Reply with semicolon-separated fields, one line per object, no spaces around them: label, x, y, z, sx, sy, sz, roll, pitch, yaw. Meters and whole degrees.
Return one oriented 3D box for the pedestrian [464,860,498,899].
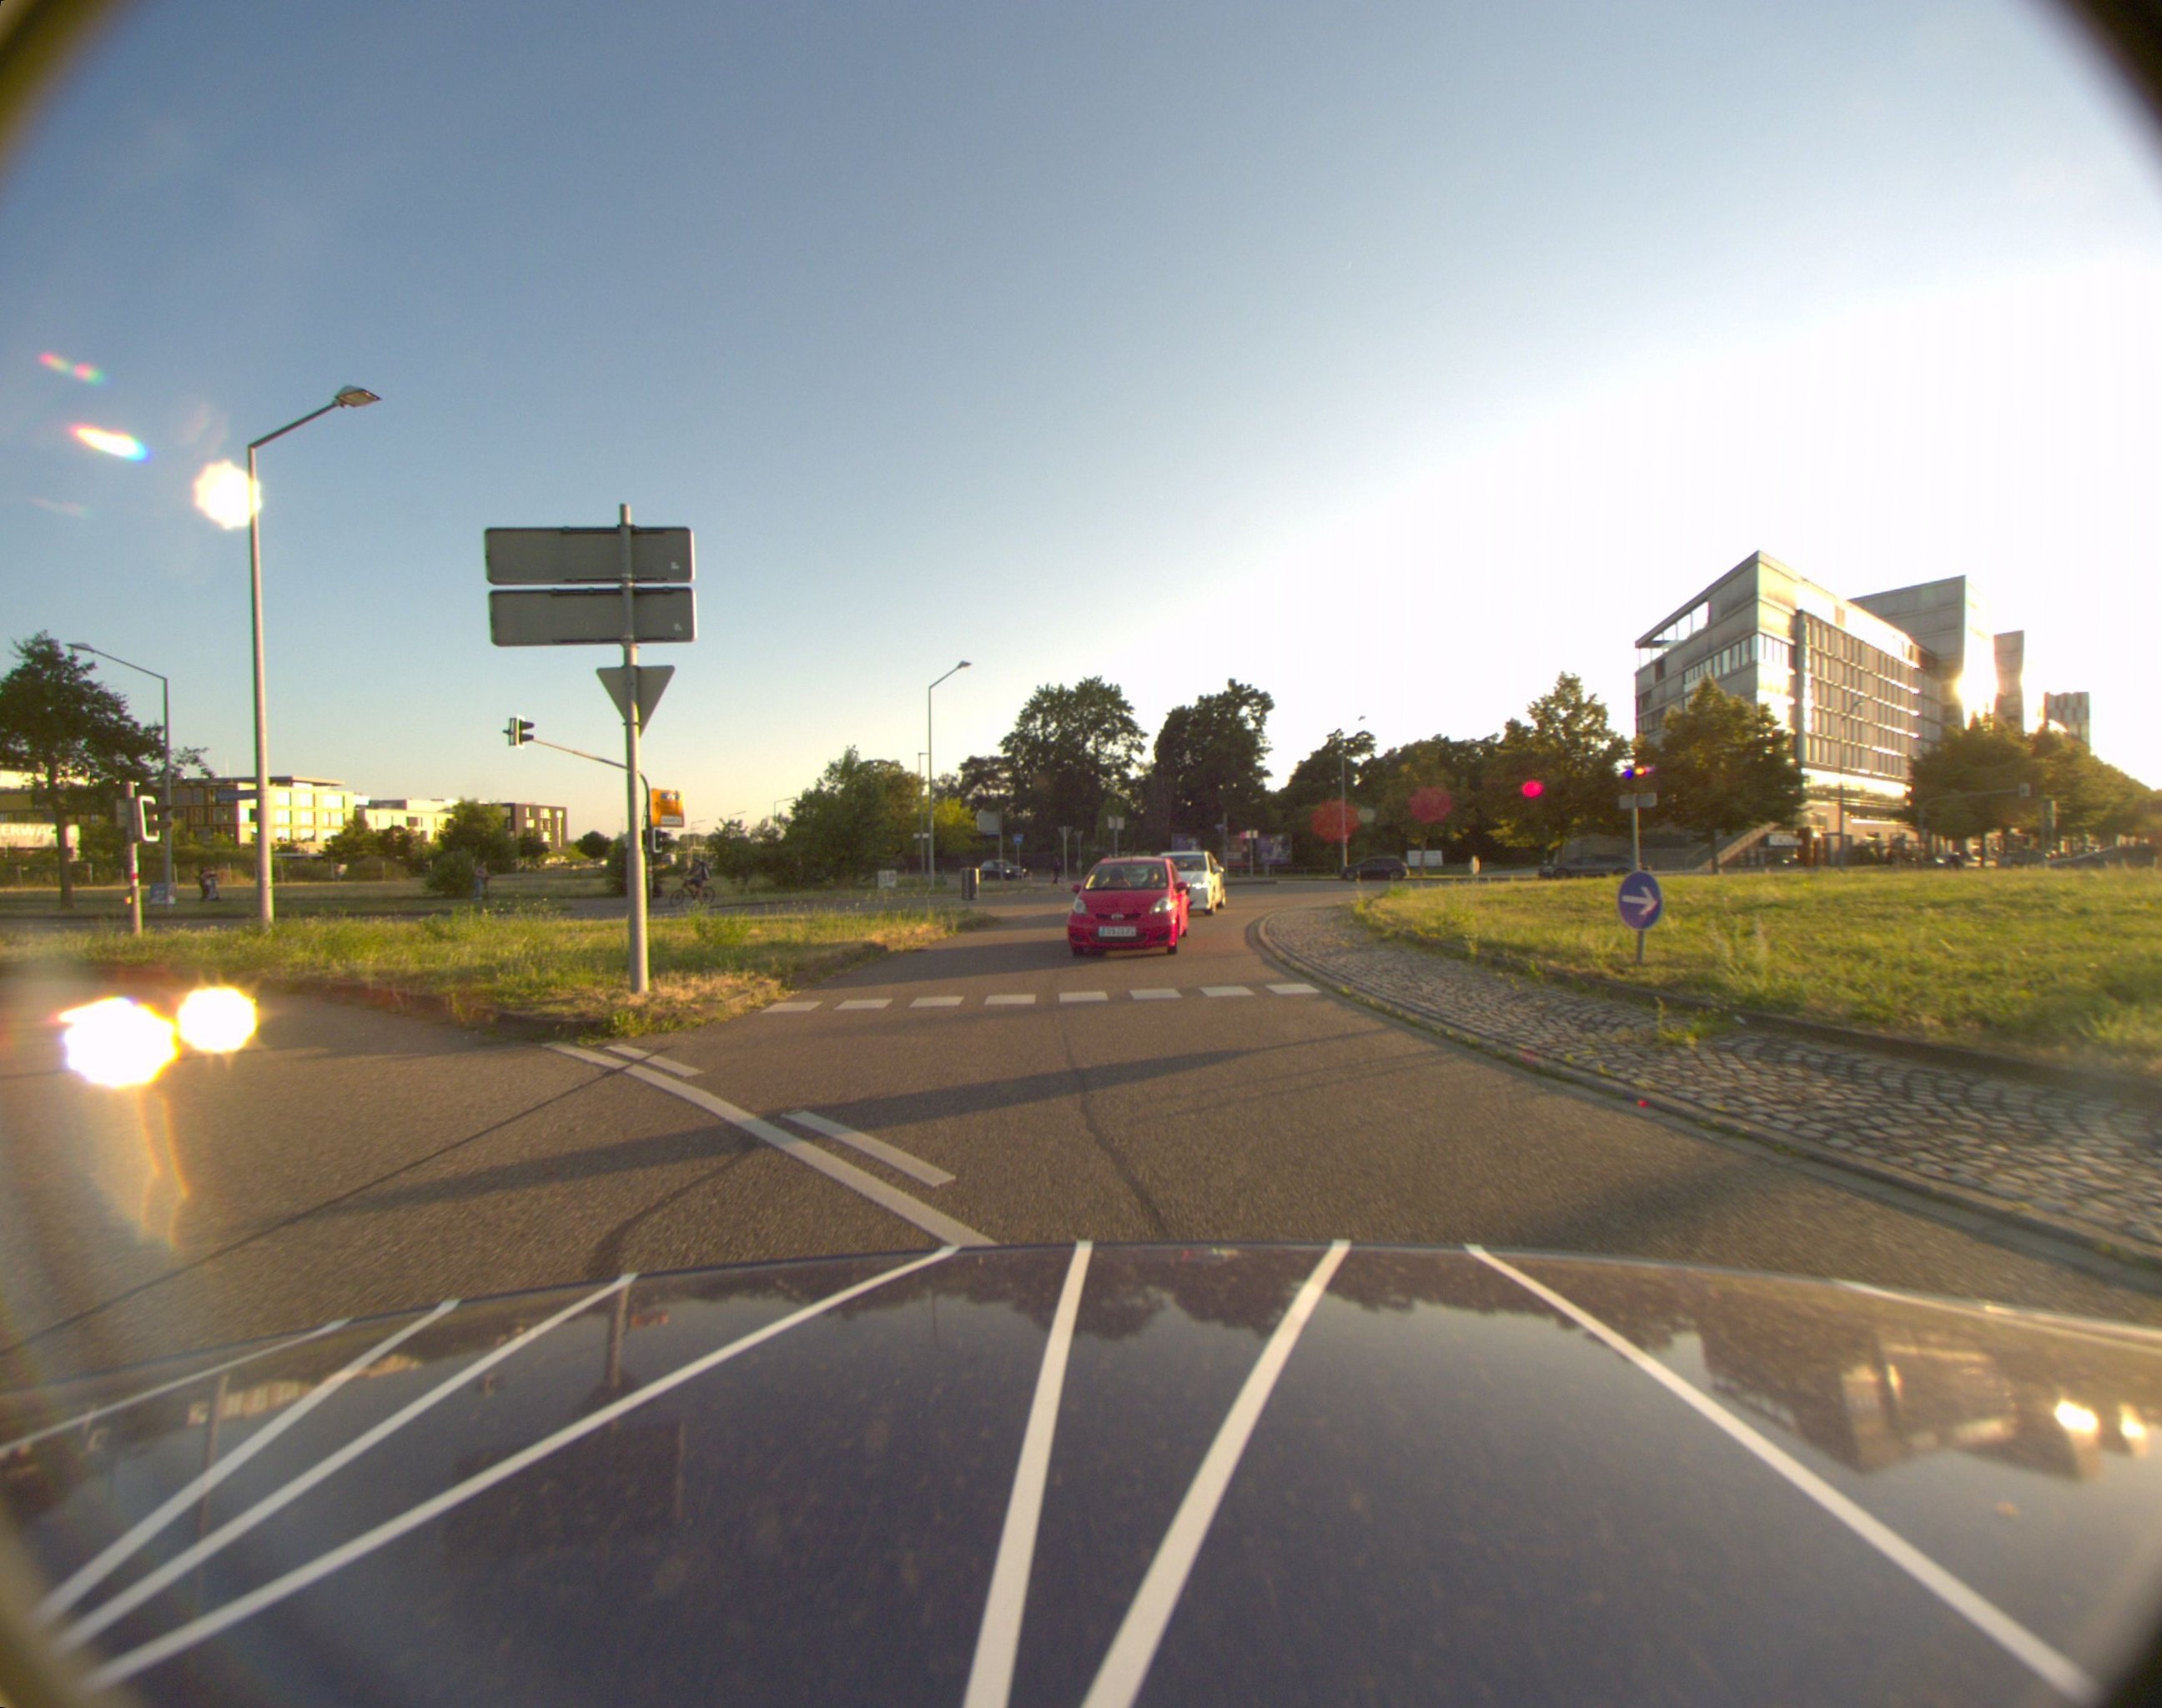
pedestrian;-26.495;1.106;33.550;0.889;1.691;0.721;-1;1;10

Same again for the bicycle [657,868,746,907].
bicycle;-15.244;1.315;30.722;1.121;1.387;3.543;0;1;15

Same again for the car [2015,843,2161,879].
car;42.626;0.292;31.707;4.390;1.424;1.949;-1;0;44

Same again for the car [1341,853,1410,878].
car;17.846;0.686;46.037;3.741;1.424;1.948;-1;0;27

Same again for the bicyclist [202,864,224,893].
bicyclist;-41.961;1.196;36.735;0.447;1.389;0.474;-1;1;4

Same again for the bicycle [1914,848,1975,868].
bicycle;53.109;0.248;46.769;2.402;1.160;0.756;0;1;45

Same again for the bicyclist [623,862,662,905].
bicyclist;-17.434;1.158;30.217;0.809;1.623;1.002;1;3;23

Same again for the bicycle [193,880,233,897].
bicycle;-41.969;1.688;36.748;1.417;0.787;0.474;-1;1;3

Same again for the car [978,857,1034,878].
car;-5.613;0.983;56.650;4.242;1.492;1.846;0;1;43

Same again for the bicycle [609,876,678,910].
bicycle;-17.422;1.528;30.305;0.809;1.172;2.332;1;2;23

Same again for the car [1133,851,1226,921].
car;2.606;0.718;19.254;1.757;1.549;4.219;-1;0;15

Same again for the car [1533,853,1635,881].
car;27.558;0.703;41.804;4.392;1.424;1.948;-1;0;23

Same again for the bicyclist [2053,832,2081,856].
bicyclist;62.518;-0.630;48.199;0.976;1.516;0.756;0;1;45

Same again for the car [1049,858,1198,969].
car;0.887;0.841;12.539;1.691;1.413;4.215;-2;1;13

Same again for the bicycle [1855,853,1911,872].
bicycle;50.438;0.514;47.793;0.756;1.160;2.402;-1;1;-42

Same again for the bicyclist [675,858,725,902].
bicyclist;-15.428;1.041;30.810;1.121;1.739;1.418;0;1;15

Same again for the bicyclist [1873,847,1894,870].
bicyclist;50.439;0.268;47.754;0.756;1.384;0.877;-1;1;-42
